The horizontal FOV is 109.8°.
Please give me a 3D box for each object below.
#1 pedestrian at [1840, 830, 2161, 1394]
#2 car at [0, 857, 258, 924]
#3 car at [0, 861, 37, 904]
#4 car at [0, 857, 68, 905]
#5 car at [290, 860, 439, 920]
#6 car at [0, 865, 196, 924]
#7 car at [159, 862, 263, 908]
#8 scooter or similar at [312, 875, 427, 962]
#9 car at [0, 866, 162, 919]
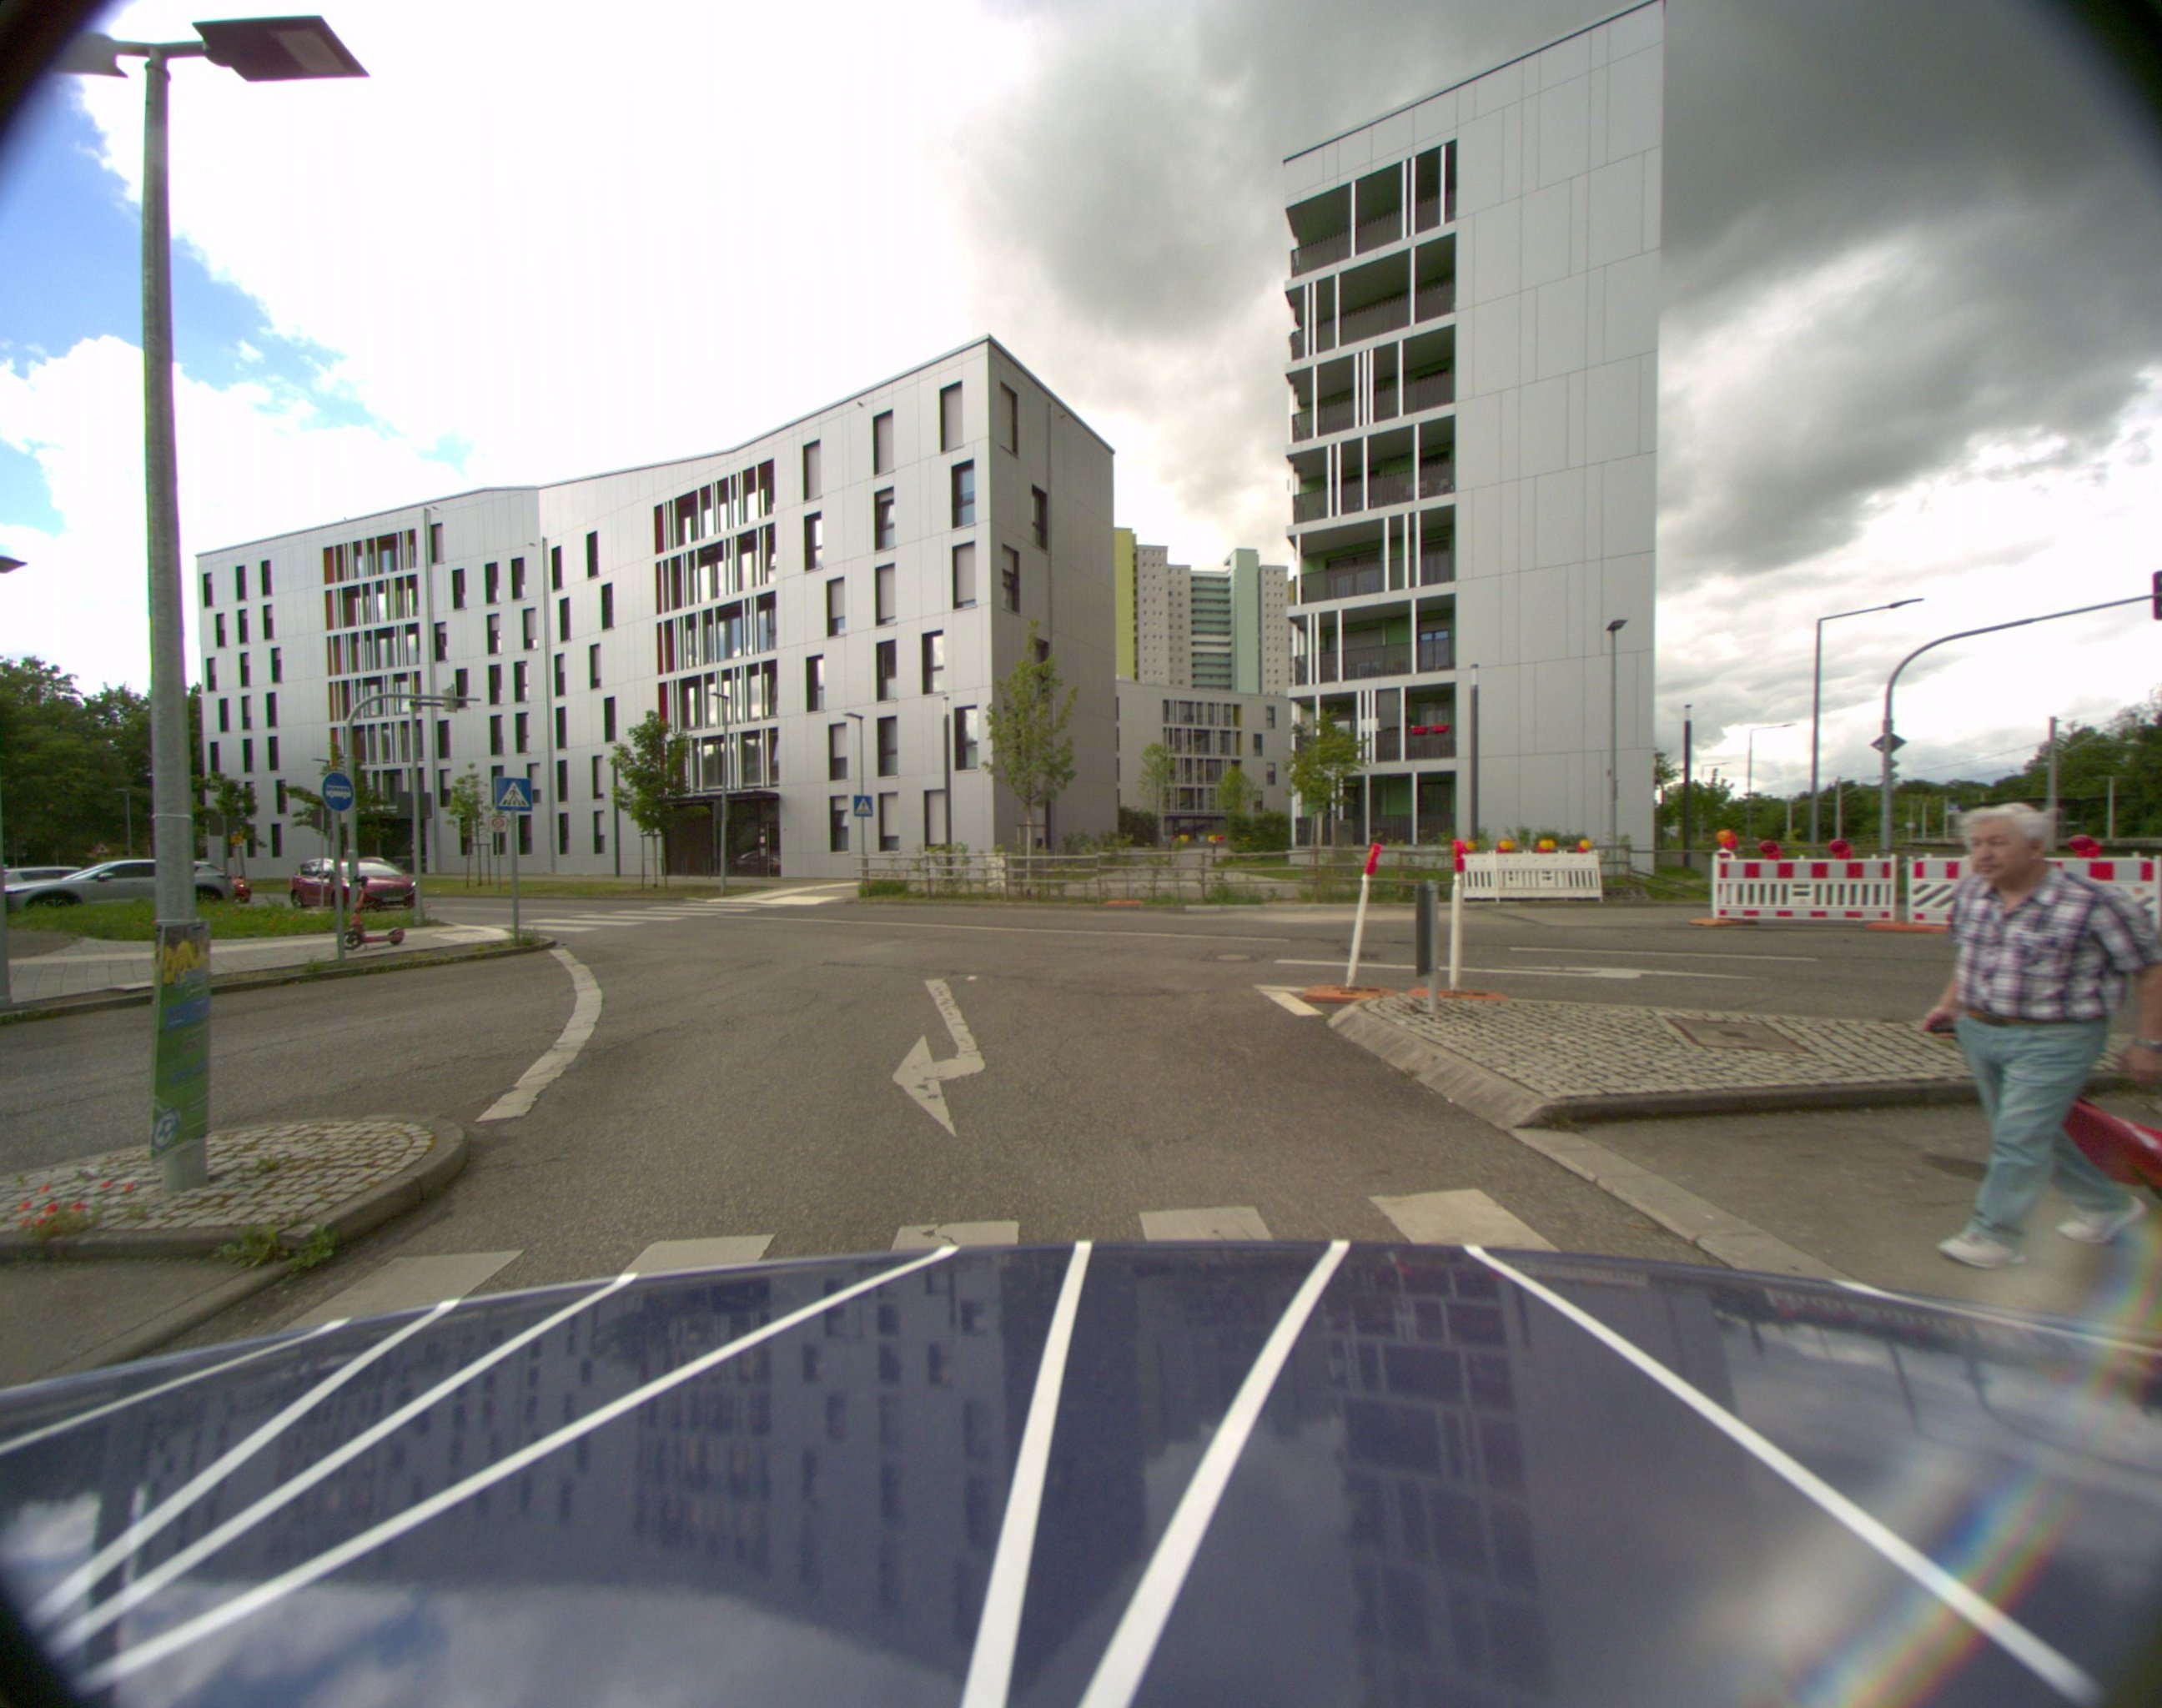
[{"bbox_3d":[3.262,0.749,2.550,0.722,1.624,0.699,-3,2,0],"label":"pedestrian"},{"bbox_3d":[-27.779,0.993,22.172,2.065,1.741,4.672,-1,-1,23],"label":"car"},{"bbox_3d":[-48.517,1.236,32.318,1.879,1.887,4.574,-1,-1,25],"label":"car"},{"bbox_3d":[-43.710,1.104,29.892,1.833,1.881,4.302,-1,0,25],"label":"car"},{"bbox_3d":[-22.198,1.037,23.528,4.231,1.623,1.937,0,3,27],"label":"car"},{"bbox_3d":[-30.358,1.168,23.064,1.791,1.577,4.175,-1,0,25],"label":"car"},{"bbox_3d":[-34.217,1.159,29.884,3.989,1.609,1.821,0,3,29],"label":"car"},{"bbox_3d":[-12.118,1.059,13.006,0.572,1.305,1.524,-1,1,-5],"label":"scooter or similar"},{"bbox_3d":[-32.631,1.167,23.823,1.907,1.553,4.500,-1,-1,25],"label":"car"}]
